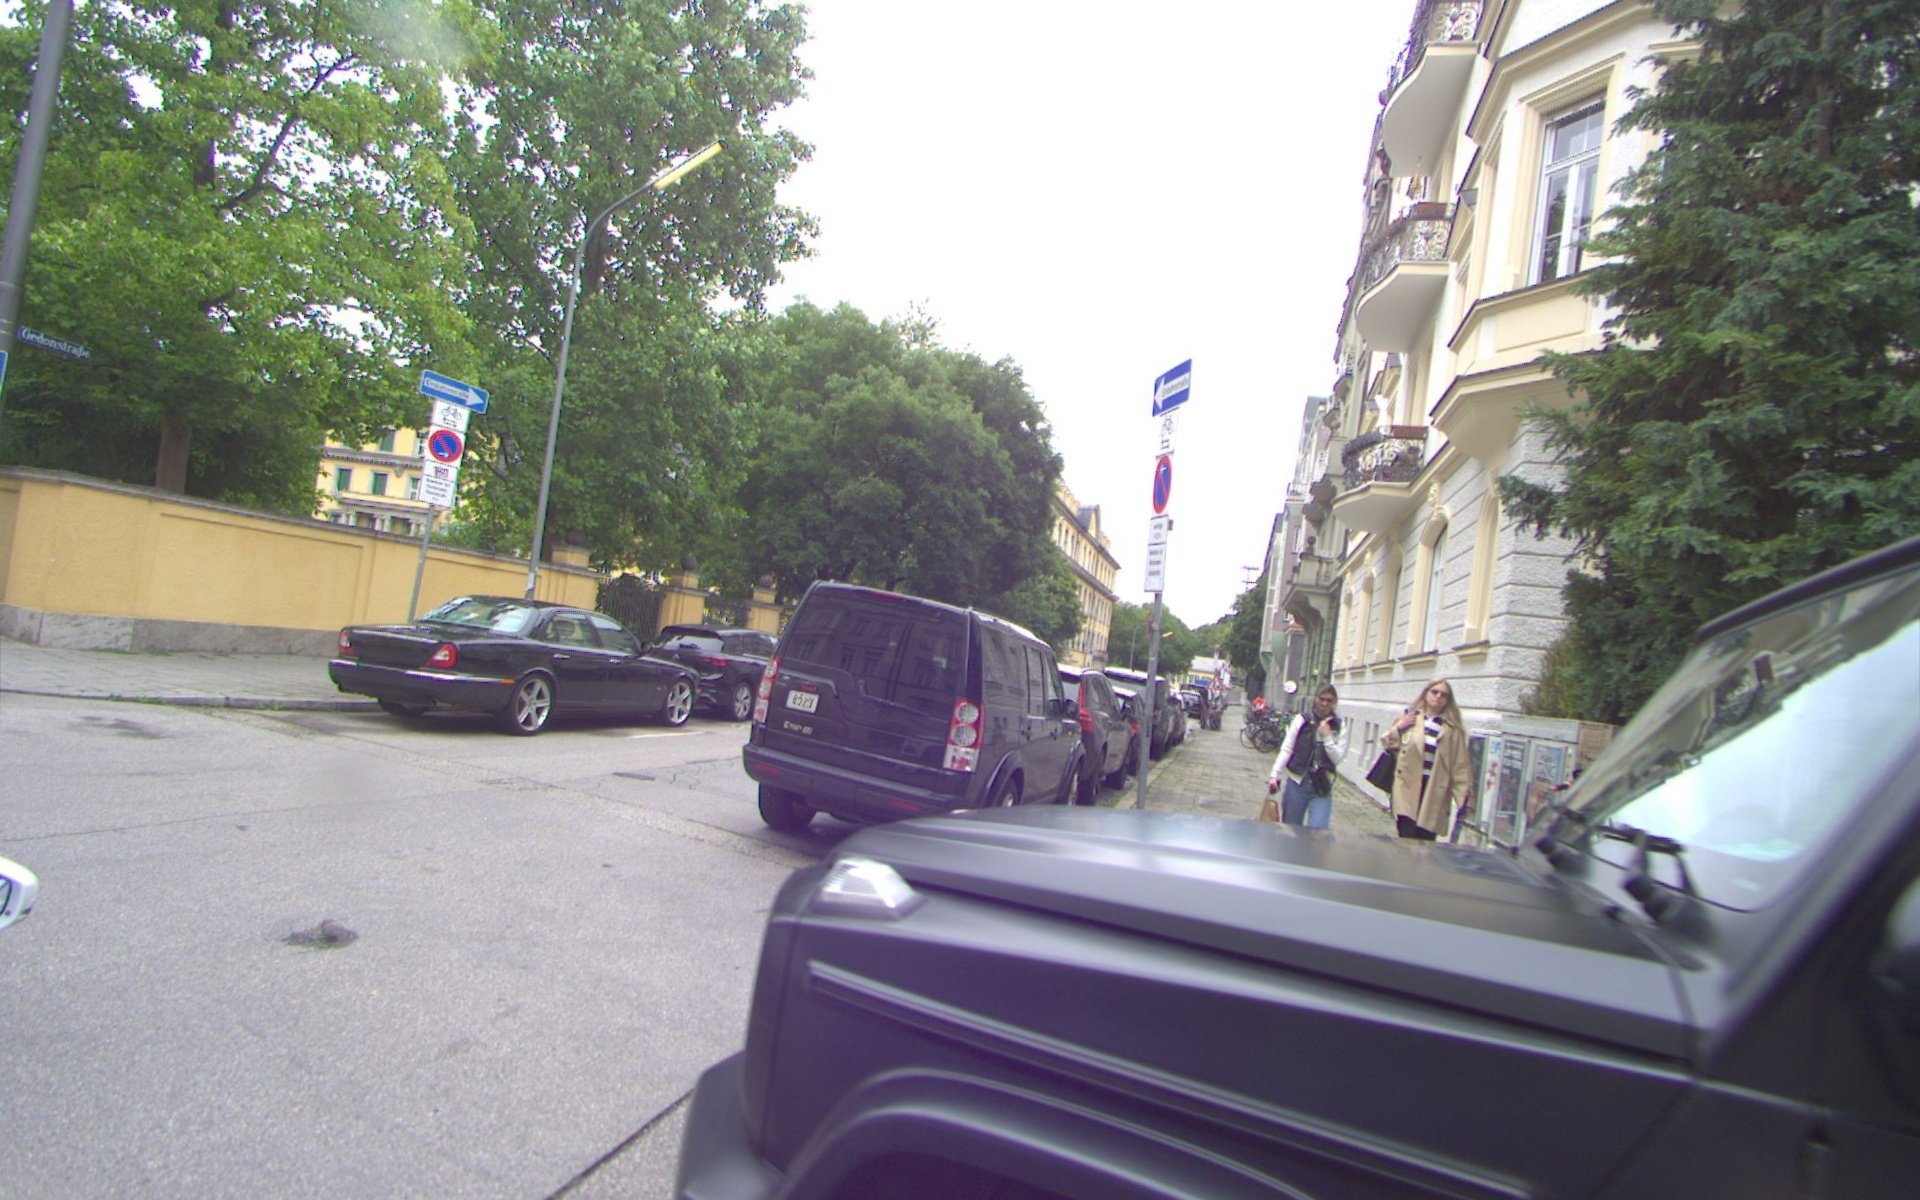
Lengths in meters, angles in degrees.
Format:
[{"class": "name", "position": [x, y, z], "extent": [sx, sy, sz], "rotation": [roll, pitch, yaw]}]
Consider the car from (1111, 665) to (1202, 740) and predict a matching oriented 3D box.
[{"class": "car", "position": [5.712, 2.891, 28.856], "extent": [1.927, 1.668, 4.256], "rotation": [9, -2, 17]}]

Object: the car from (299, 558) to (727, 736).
[{"class": "car", "position": [-4.961, 0.657, 12.181], "extent": [1.830, 1.498, 4.936], "rotation": [7, -3, 17]}]

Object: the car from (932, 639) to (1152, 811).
[{"class": "car", "position": [1.321, 1.610, 13.822], "extent": [1.927, 1.668, 4.256], "rotation": [9, -2, 17]}]

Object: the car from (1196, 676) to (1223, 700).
[{"class": "car", "position": [20.618, 7.261, 83.081], "extent": [1.962, 1.639, 4.615], "rotation": [7, -3, 15]}]

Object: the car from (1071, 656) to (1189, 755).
[{"class": "car", "position": [4.051, 2.395, 23.391], "extent": [1.927, 1.773, 4.256], "rotation": [9, -2, 17]}]

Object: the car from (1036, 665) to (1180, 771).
[{"class": "car", "position": [2.933, 2.167, 19.166], "extent": [1.927, 1.457, 4.117], "rotation": [9, -2, 17]}]

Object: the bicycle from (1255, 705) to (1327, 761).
[{"class": "bicycle", "position": [9.098, 3.627, 27.769], "extent": [1.724, 1.281, 2.478], "rotation": [5, -4, 18]}]

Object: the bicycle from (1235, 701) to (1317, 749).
[{"class": "bicycle", "position": [10.721, 4.216, 34.219], "extent": [2.461, 1.281, 2.478], "rotation": [5, -4, 18]}]

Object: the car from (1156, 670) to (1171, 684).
[{"class": "car", "position": [31.480, 11.870, 155.569], "extent": [1.875, 1.889, 4.615], "rotation": [7, -3, 15]}]

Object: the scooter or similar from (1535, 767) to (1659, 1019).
[{"class": "scooter or similar", "position": [3.777, 1.671, 6.031], "extent": [0.364, 1.203, 1.351], "rotation": [7, -2, 26]}]

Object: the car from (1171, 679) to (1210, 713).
[{"class": "car", "position": [13.520, 5.584, 58.766], "extent": [1.962, 1.639, 4.615], "rotation": [7, -3, 15]}]

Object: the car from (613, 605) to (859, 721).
[{"class": "car", "position": [-3.626, 1.138, 17.301], "extent": [1.886, 1.499, 4.614], "rotation": [7, -3, 19]}]

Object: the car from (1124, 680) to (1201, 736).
[{"class": "car", "position": [6.809, 3.542, 33.469], "extent": [1.927, 1.422, 4.256], "rotation": [9, -2, 17]}]

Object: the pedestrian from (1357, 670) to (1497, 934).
[{"class": "pedestrian", "position": [3.381, 1.415, 7.357], "extent": [0.683, 1.724, 0.736], "rotation": [7, 1, 20]}]

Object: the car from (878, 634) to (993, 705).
[{"class": "car", "position": [-0.584, 2.041, 28.996], "extent": [1.962, 1.639, 4.615], "rotation": [7, -3, 15]}]

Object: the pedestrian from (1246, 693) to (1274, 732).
[{"class": "pedestrian", "position": [14.507, 5.444, 48.638], "extent": [0.959, 1.770, 0.784], "rotation": [7, -2, 26]}]

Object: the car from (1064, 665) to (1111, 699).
[{"class": "car", "position": [7.409, 4.740, 58.173], "extent": [1.962, 1.639, 4.615], "rotation": [7, -3, 15]}]

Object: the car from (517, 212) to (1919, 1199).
[{"class": "car", "position": [1.874, 0.841, 1.478], "extent": [4.581, 1.975, 1.960], "rotation": [8, -3, 23]}]

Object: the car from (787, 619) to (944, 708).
[{"class": "car", "position": [-2.046, 1.526, 23.446], "extent": [1.962, 1.639, 4.615], "rotation": [7, -3, 16]}]

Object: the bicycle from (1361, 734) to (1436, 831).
[{"class": "bicycle", "position": [6.219, 2.546, 14.363], "extent": [0.528, 1.117, 2.418], "rotation": [7, -3, 16]}]

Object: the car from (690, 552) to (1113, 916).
[{"class": "car", "position": [-0.102, 0.979, 8.567], "extent": [1.868, 1.972, 4.549], "rotation": [9, -2, 17]}]

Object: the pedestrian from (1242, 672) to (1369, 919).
[{"class": "pedestrian", "position": [2.565, 1.407, 7.515], "extent": [0.676, 1.648, 0.709], "rotation": [7, 0, 18]}]

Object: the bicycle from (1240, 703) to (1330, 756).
[{"class": "bicycle", "position": [10.002, 3.956, 31.073], "extent": [2.461, 1.281, 2.478], "rotation": [5, -4, 18]}]
